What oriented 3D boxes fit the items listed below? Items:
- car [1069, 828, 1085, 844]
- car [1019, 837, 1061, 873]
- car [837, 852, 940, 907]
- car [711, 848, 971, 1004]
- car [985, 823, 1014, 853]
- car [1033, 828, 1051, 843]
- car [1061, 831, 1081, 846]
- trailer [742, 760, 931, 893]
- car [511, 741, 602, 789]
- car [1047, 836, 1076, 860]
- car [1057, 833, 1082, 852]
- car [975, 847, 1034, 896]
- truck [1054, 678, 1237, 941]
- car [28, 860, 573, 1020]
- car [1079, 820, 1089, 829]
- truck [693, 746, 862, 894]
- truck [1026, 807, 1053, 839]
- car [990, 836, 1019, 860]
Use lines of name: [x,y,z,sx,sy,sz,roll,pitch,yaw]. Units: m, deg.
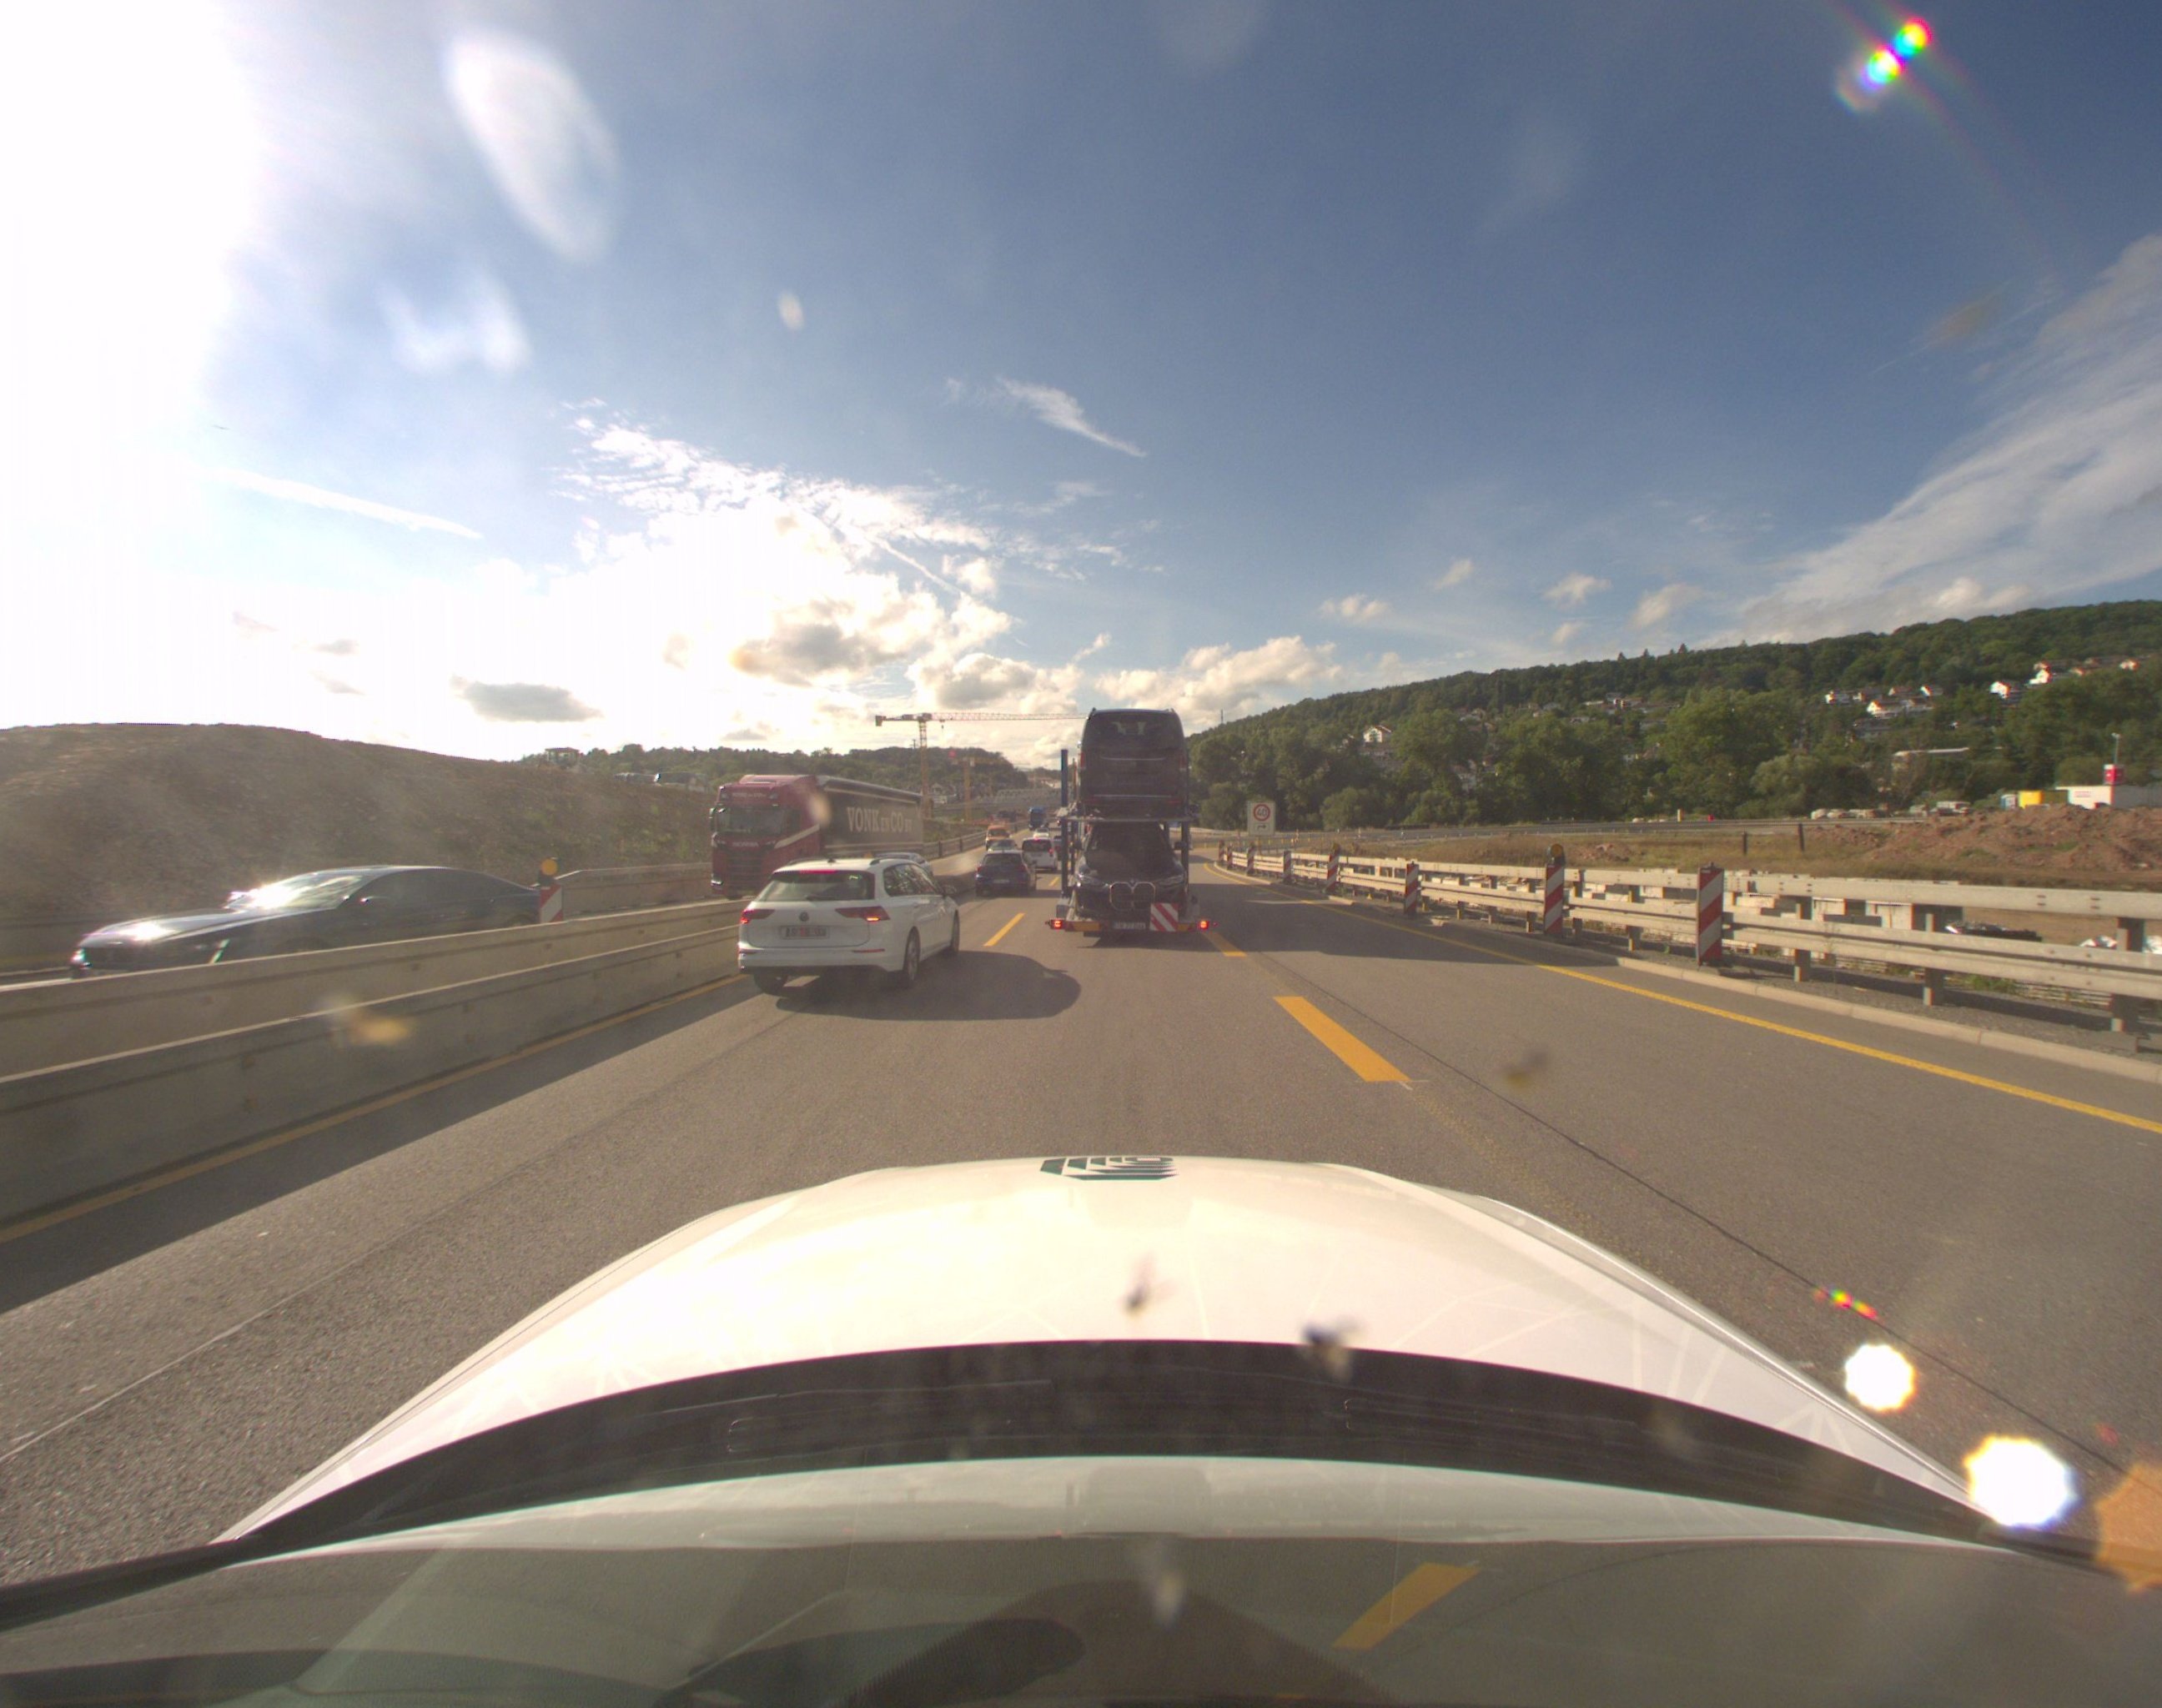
car: [-0.538,-2.492,113.962,1.986,2.014,4.002,0,-1,2]
car: [-2.110,0.074,42.777,1.815,1.792,4.003,0,-1,3]
car: [-6.182,0.768,26.743,1.835,1.648,4.513,0,0,6]
car: [-2.665,0.694,10.256,1.763,1.491,4.519,-1,1,2]
car: [-8.040,-1.612,80.820,1.985,2.879,6.069,0,1,3]
car: [-4.729,-2.229,98.678,1.987,1.684,4.000,0,0,0]
car: [-1.056,-1.759,91.708,1.985,1.665,4.004,0,1,3]
trailer: [-9.512,-0.917,34.278,2.964,4.423,13.828,1,0,3]
car: [-32.649,-5.495,50.903,1.987,2.140,5.322,-5,-1,1]
car: [-1.398,-0.400,58.602,1.988,1.556,4.397,0,-1,-2]
car: [-1.042,-1.007,73.021,1.985,1.552,4.003,0,0,3]
car: [-2.462,0.515,26.951,1.717,1.422,3.997,0,1,-2]
truck: [1.001,-0.696,21.840,2.744,3.954,18.887,1,0,0]
car: [-8.796,0.814,9.928,1.810,1.440,4.625,0,0,9]
car: [0.529,-5.411,149.830,1.839,1.648,4.503,0,0,-1]
truck: [-9.936,-0.976,27.518,2.901,4.387,6.292,1,-1,4]
truck: [-6.951,-5.170,139.181,2.808,4.789,13.071,0,-1,5]
car: [-5.292,-0.402,56.959,1.840,1.648,4.232,0,0,-3]
